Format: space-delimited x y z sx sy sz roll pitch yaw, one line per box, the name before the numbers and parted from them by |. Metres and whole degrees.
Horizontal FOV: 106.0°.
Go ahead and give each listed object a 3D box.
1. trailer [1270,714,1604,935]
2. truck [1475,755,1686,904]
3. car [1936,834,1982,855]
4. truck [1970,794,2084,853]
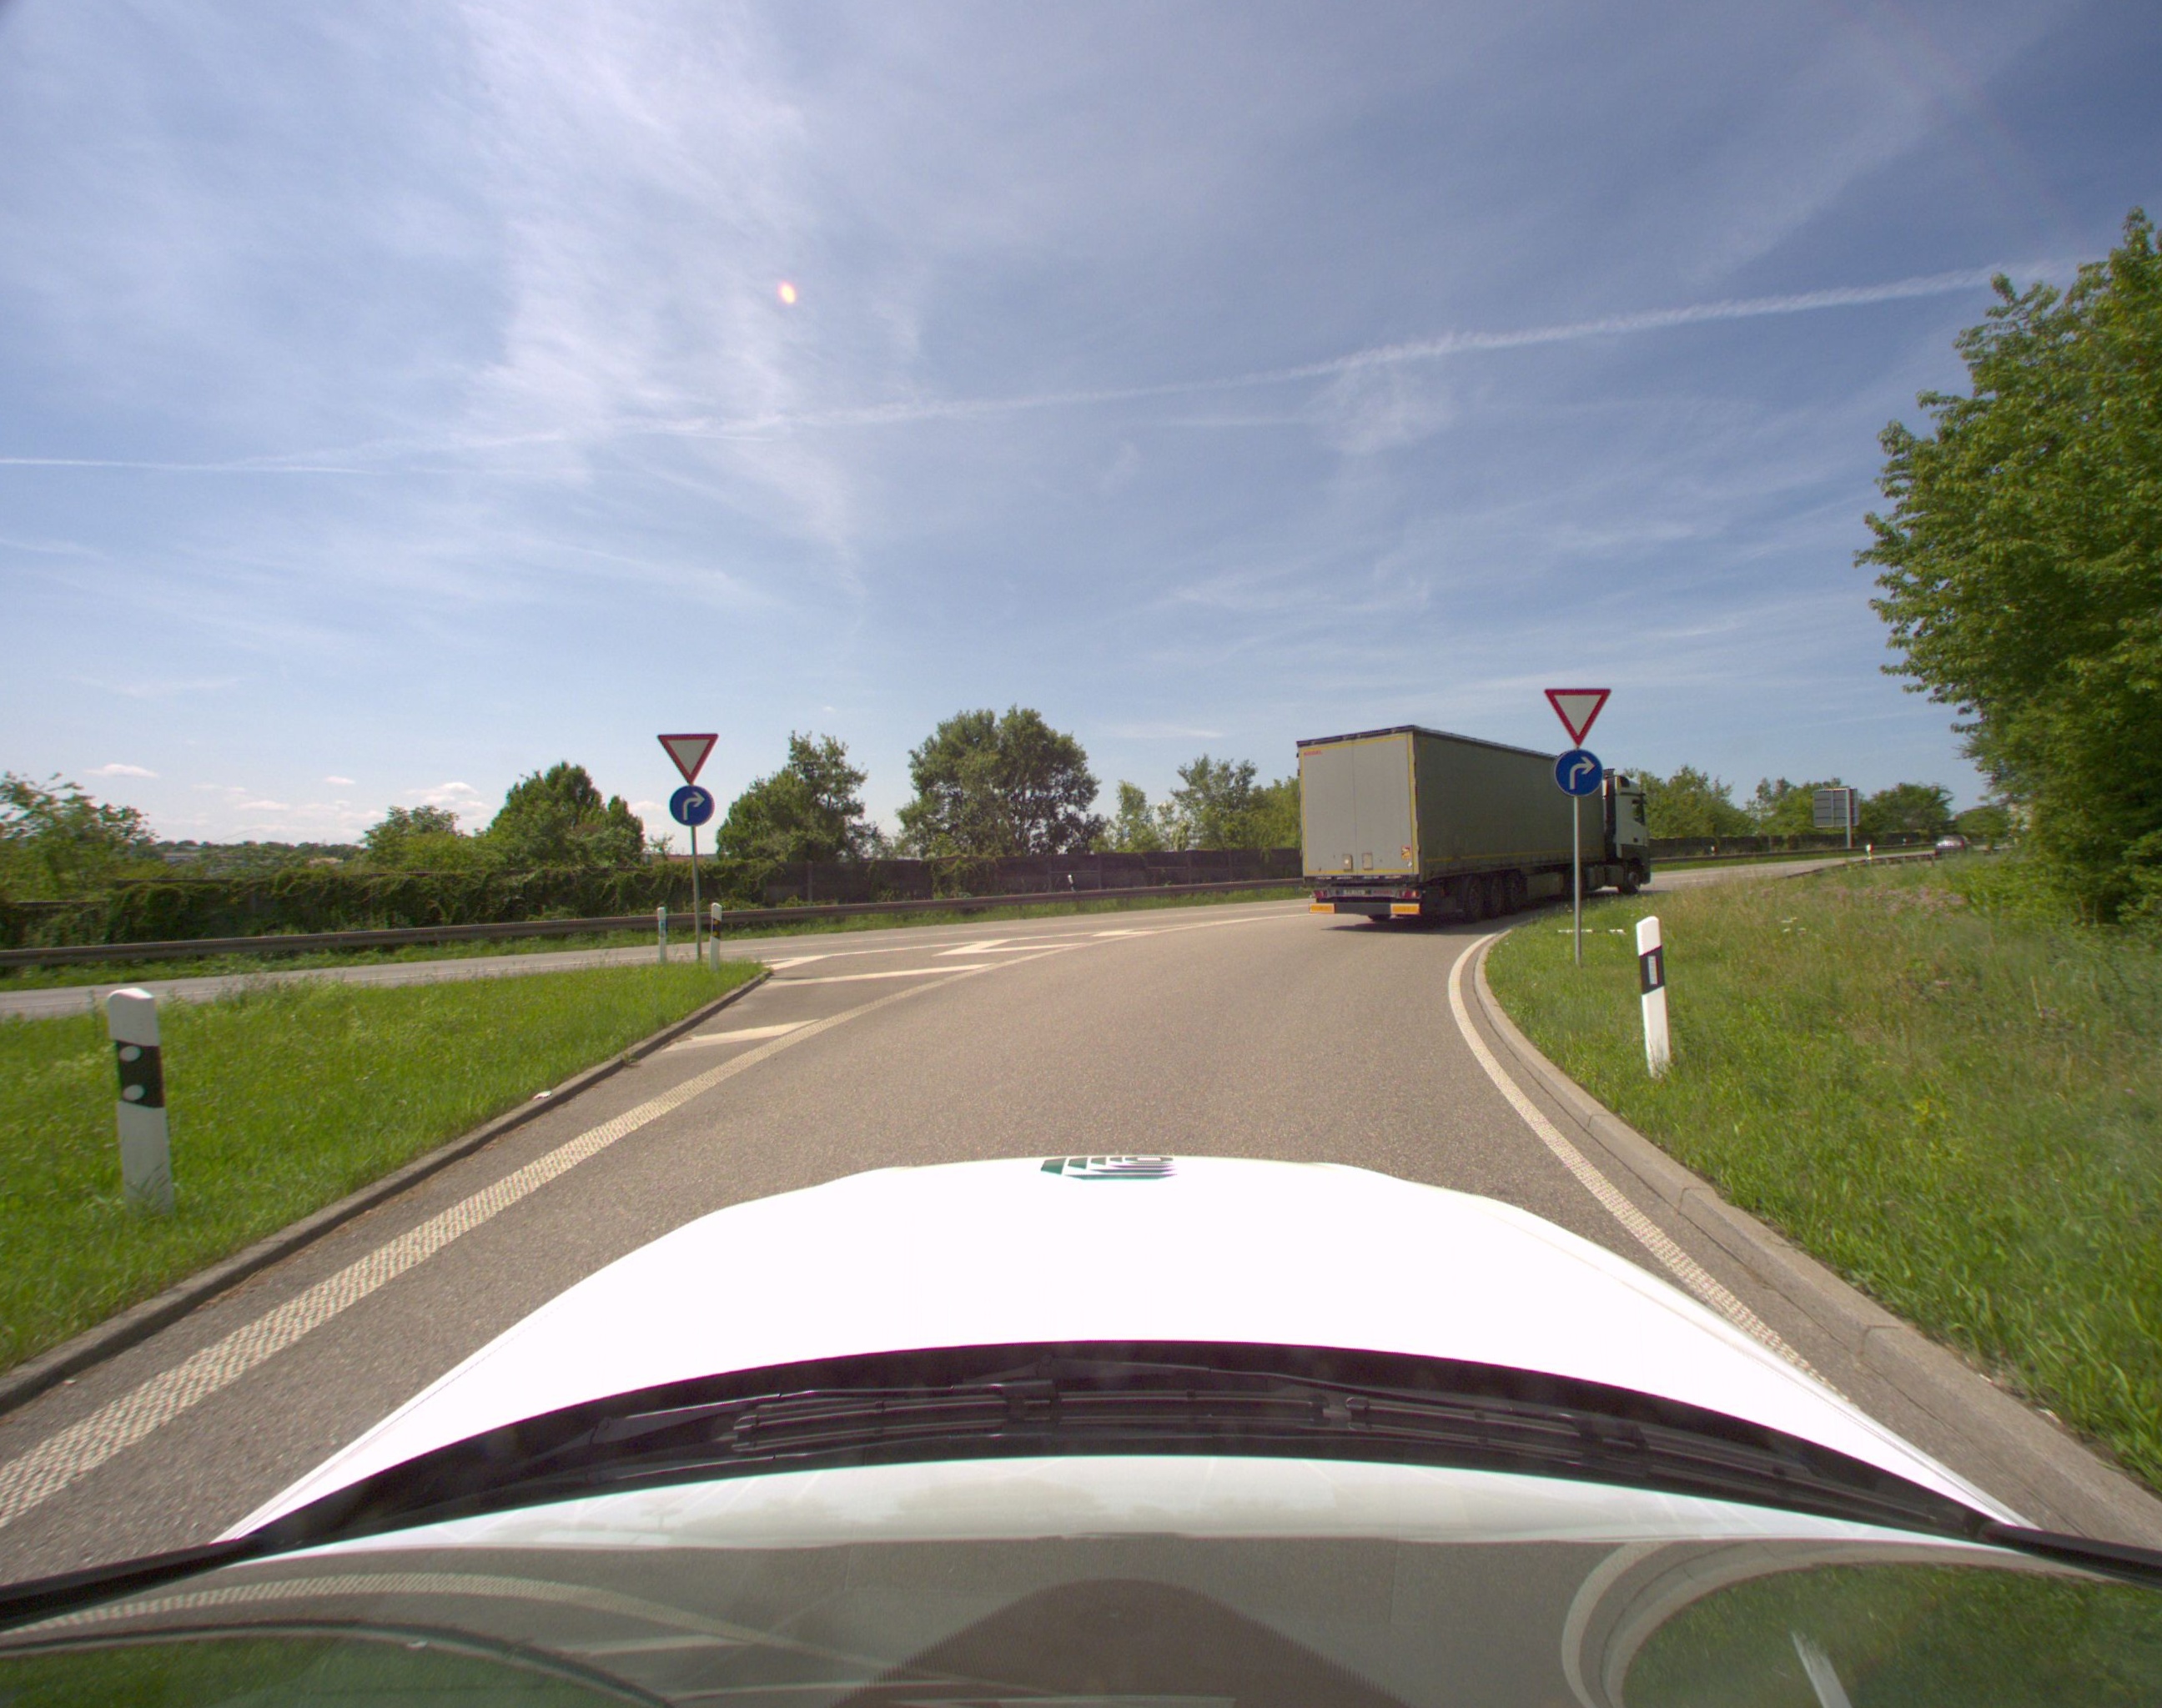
trailer | 9.811 -0.535 20.708 2.999 4.035 13.429 -3 -2 45
truck | 16.354 -0.663 26.516 7.151 4.225 3.129 0 -2 -35
car | 66.487 -0.698 61.669 4.014 1.486 1.654 -1 0 -32
truck | 84.003 -2.625 72.181 16.256 4.744 3.803 -1 -1 -31
